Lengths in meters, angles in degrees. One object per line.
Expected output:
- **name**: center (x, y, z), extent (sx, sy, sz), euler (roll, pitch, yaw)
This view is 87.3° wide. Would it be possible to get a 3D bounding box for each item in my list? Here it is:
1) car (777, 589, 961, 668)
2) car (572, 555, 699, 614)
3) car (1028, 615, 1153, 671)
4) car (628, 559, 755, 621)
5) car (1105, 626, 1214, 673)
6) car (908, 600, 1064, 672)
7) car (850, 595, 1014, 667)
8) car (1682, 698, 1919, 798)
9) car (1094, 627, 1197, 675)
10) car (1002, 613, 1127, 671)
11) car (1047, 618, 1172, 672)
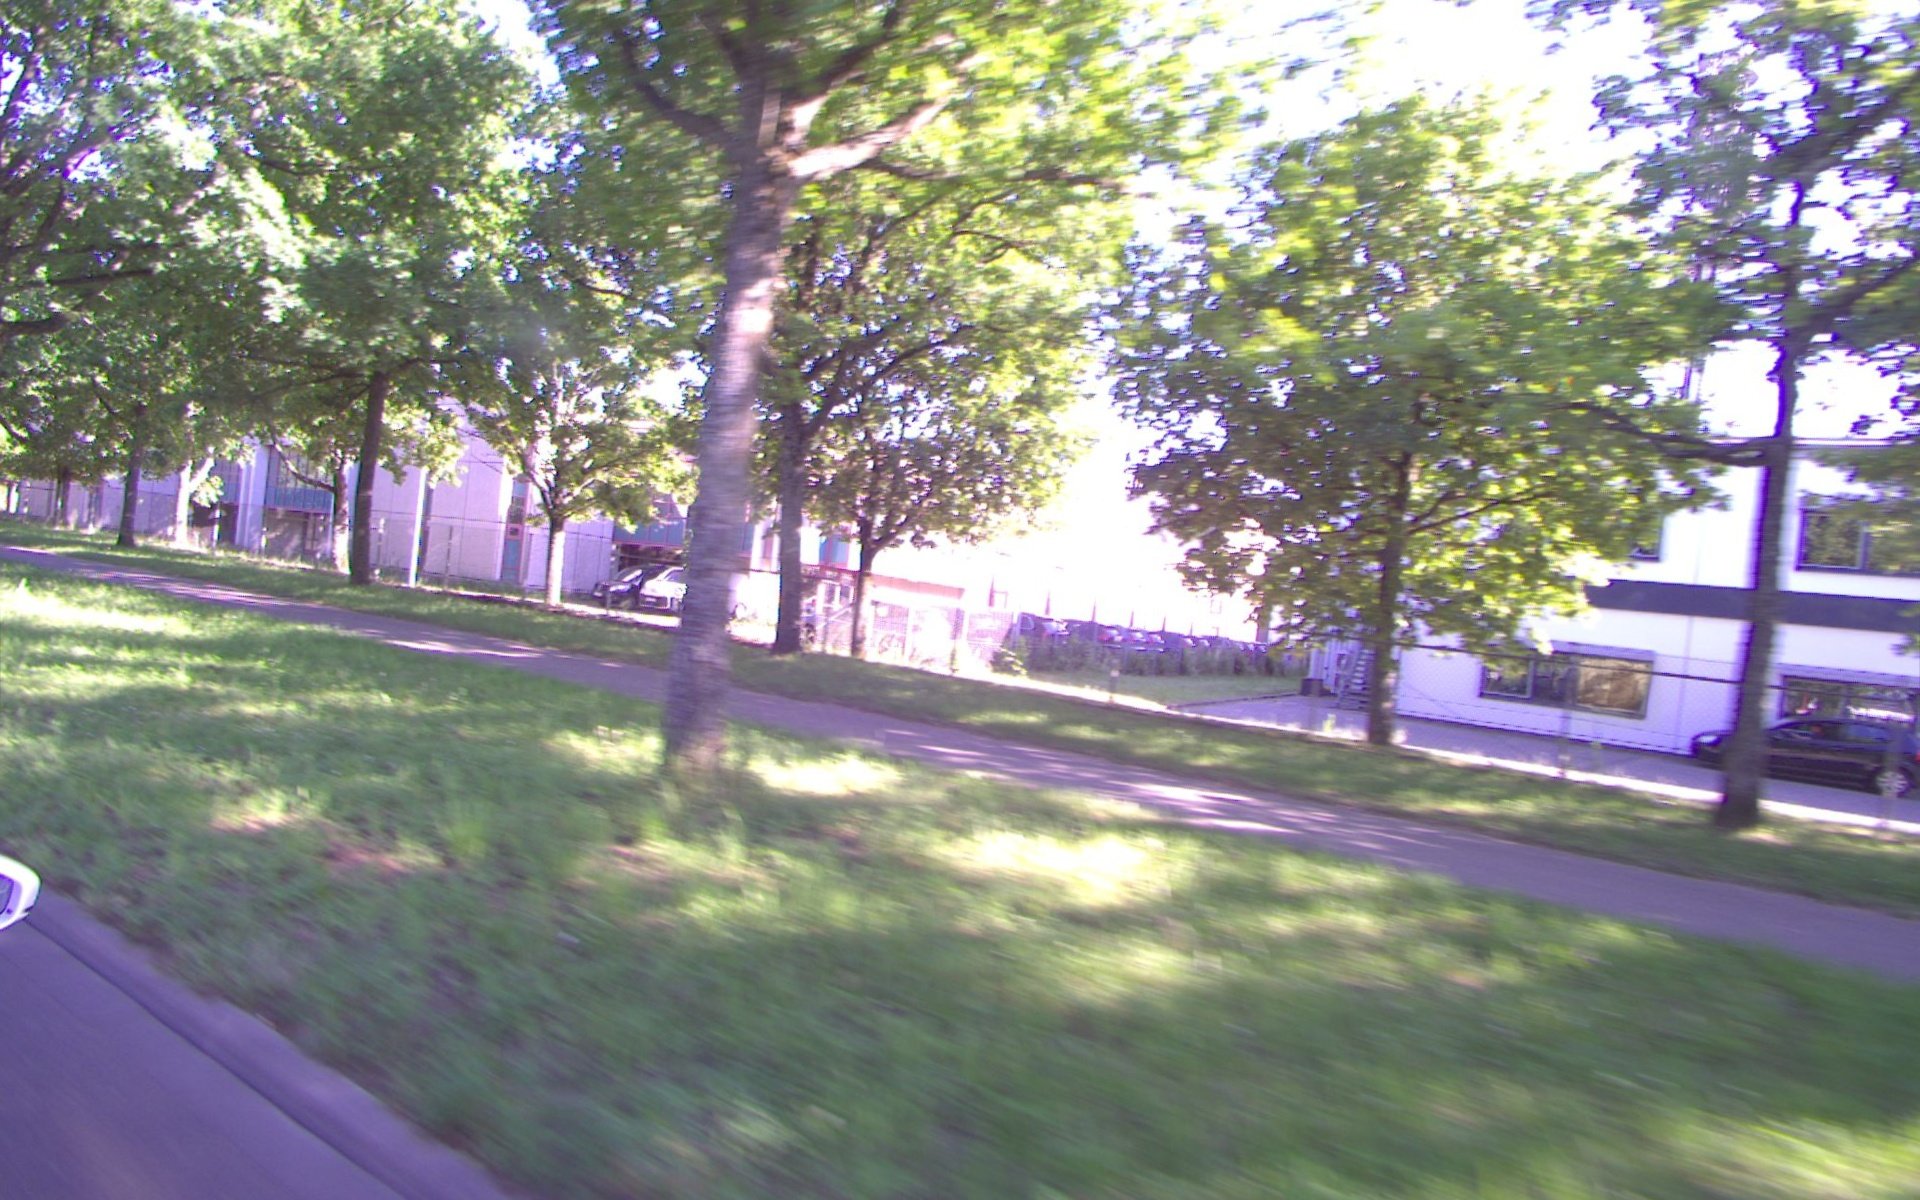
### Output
- **car**: center (-2.553, 0.785, 27.988), extent (4.635, 1.626, 1.997), euler (6, 0, 29)
- **car**: center (-13.130, -0.574, 41.067), extent (1.964, 1.907, 4.959), euler (6, 0, 25)
- **car**: center (5.267, 1.723, 40.954), extent (4.646, 1.692, 1.703), euler (6, -2, 36)
- **car**: center (-10.442, -0.344, 39.573), extent (1.861, 1.984, 5.073), euler (6, 0, 25)
- **car**: center (9.788, 2.426, 49.600), extent (4.879, 1.692, 1.738), euler (6, -2, 36)
- **car**: center (0.807, 1.135, 31.848), extent (4.379, 1.694, 1.997), euler (7, 0, 29)
- **car**: center (-0.858, 0.923, 30.225), extent (4.379, 1.578, 1.997), euler (7, 0, 29)
- **car**: center (18.714, 3.248, 22.370), extent (4.091, 1.523, 1.719), euler (6, -2, 33)
- **car**: center (8.705, 2.396, 47.370), extent (4.279, 1.692, 1.738), euler (6, -2, 36)
- **car**: center (4.001, 1.609, 38.897), extent (4.387, 1.675, 1.696), euler (6, -2, 36)
- **car**: center (6.402, 1.916, 43.195), extent (4.890, 1.692, 1.740), euler (6, -2, 33)
